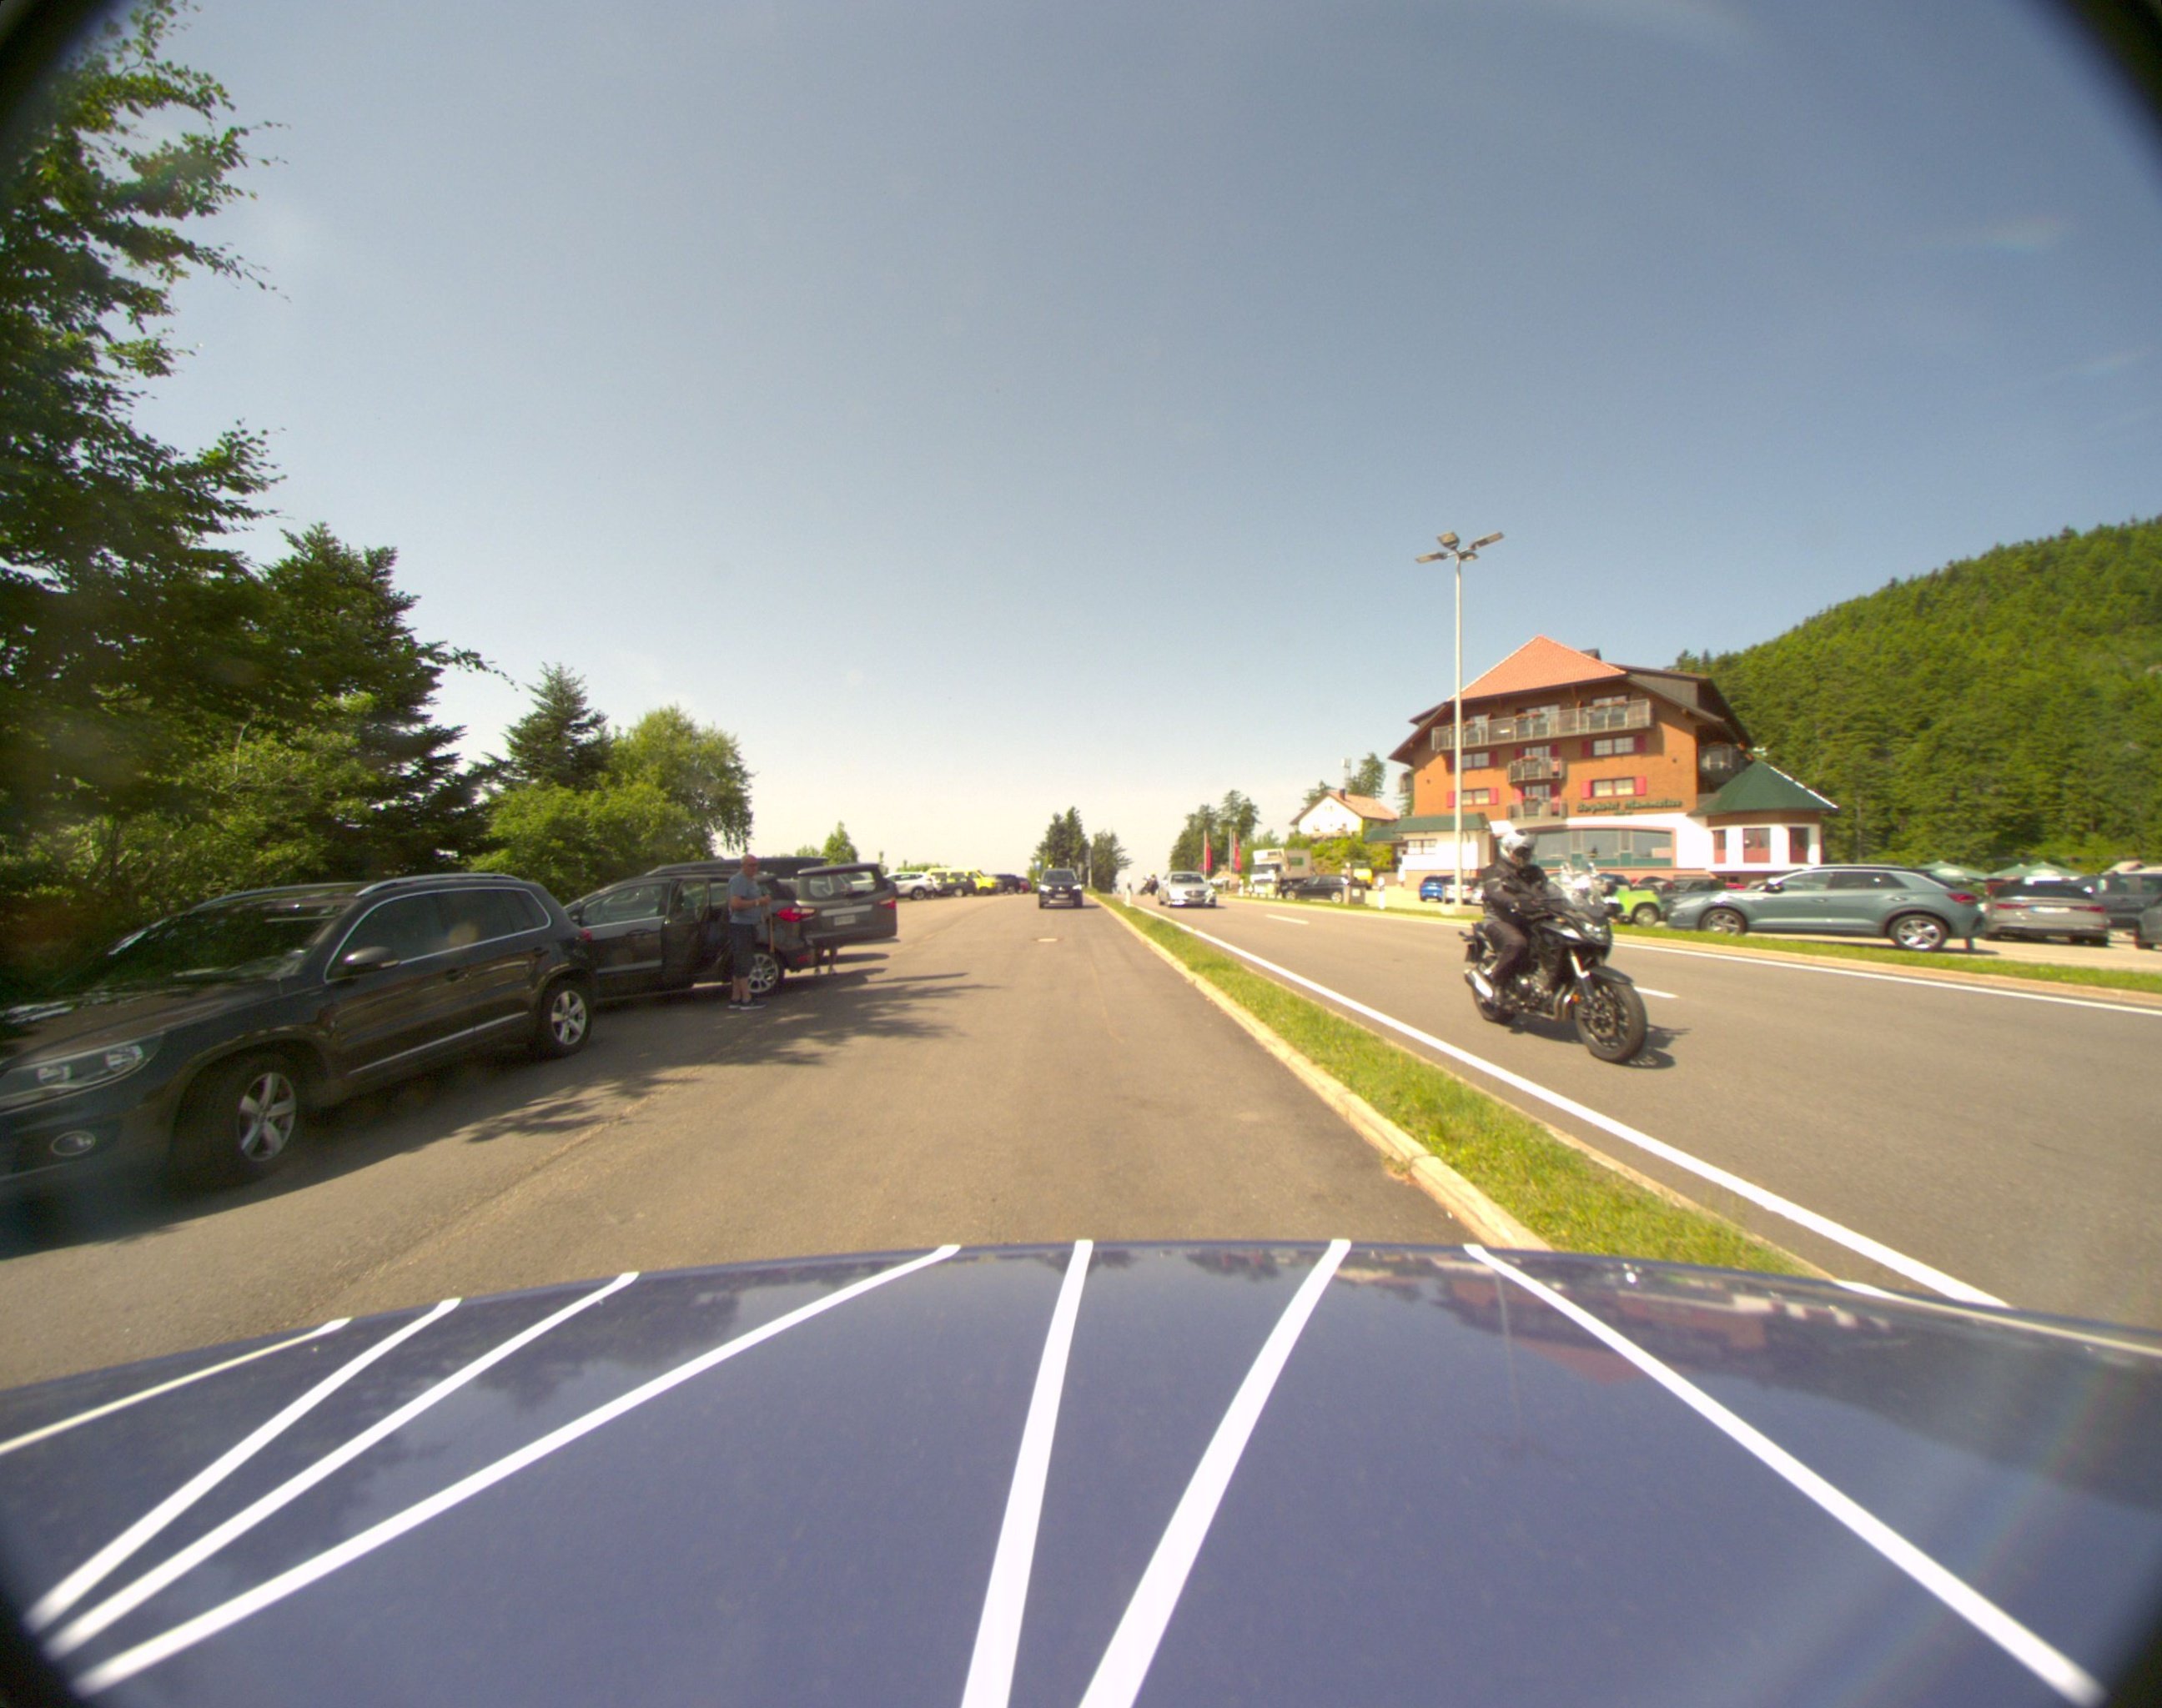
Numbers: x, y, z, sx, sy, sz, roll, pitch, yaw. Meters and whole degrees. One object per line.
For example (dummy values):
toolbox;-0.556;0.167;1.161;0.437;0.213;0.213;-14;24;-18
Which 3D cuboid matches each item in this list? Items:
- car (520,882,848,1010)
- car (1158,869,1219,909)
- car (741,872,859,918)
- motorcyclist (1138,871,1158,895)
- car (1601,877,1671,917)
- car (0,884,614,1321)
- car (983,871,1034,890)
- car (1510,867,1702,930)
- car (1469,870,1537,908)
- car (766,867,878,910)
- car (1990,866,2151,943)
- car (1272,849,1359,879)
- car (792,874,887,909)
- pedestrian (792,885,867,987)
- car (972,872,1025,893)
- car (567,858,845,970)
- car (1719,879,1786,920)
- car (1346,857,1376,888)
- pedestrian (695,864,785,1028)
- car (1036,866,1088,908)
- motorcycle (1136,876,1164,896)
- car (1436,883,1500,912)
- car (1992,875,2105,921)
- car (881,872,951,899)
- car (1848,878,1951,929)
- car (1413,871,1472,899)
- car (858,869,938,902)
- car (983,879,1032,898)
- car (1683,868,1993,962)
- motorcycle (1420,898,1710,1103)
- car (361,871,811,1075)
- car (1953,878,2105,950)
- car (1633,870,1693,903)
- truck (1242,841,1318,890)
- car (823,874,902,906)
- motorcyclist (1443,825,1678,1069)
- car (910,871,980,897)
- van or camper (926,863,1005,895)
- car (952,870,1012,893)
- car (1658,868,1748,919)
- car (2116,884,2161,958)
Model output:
car;-5.776;1.241;11.420;4.006;1.434;1.836;-2;-1;-29
car;4.251;1.393;30.612;1.781;1.448;4.001;1;-2;-1
car;-11.104;1.574;30.078;4.007;1.539;1.816;-2;-1;-34
motorcyclist;4.913;2.128;55.653;1.061;1.709;1.251;0;-1;33
car;22.413;1.736;30.635;1.711;1.477;4.089;-1;-3;44
car;-5.377;1.158;5.126;1.748;1.622;4.308;-4;0;-1
car;-6.518;2.384;68.222;4.410;1.558;1.907;-1;-2;-7
car;14.305;1.171;20.881;1.787;1.542;3.989;2;-3;-40
car;22.236;1.843;39.974;4.541;1.852;1.830;3;-3;-43
car;-11.331;1.486;33.384;4.235;1.684;1.859;-1;-1;-38
car;26.999;1.334;20.908;1.994;1.892;4.010;0;-2;42
car;12.862;0.575;41.840;4.180;1.530;1.812;-1;-3;44
car;-11.708;1.803;36.907;4.057;1.452;1.891;-2;-1;-29
pedestrian;-3.605;1.153;10.946;0.775;1.394;0.669;1;-2;6
car;-6.395;2.214;59.128;3.999;1.603;1.916;-1;-2;-6
car;-7.402;1.121;15.571;4.777;1.868;1.963;-2;-1;-20
car;28.211;1.887;31.931;1.994;1.542;4.010;0;-2;42
car;23.458;1.579;63.707;1.996;2.480;4.007;1;-2;16
pedestrian;-3.843;1.005;8.576;0.579;1.750;0.634;-3;0;34
car;-0.705;1.346;31.348;1.985;1.606;4.151;0;-2;0
motorcycle;5.068;2.311;55.895;1.003;1.398;2.450;0;-1;33
car;21.807;2.458;42.740;4.010;1.536;1.994;3;-3;-44
car;35.105;1.589;27.696;1.905;1.520;3.891;-1;-3;42
car;-10.172;1.929;46.789;4.100;1.491;1.942;-1;-1;-13
car;27.501;1.651;25.664;1.994;1.542;4.010;0;-2;42
car;22.061;1.860;46.296;1.934;1.653;4.556;-1;-2;44
car;-10.549;1.805;43.755;4.189;1.639;1.889;-2;-1;-21
car;-6.216;2.889;64.215;4.000;1.500;1.841;0;-2;-10
car;14.326;1.057;14.662;1.744;1.558;4.048;1;-2;-45
motorcycle;3.757;1.044;6.234;0.878;1.249;2.277;-1;-1;-1
car;-5.572;1.197;9.150;4.005;1.652;1.996;-5;1;-28
car;22.768;1.389;18.420;4.010;1.535;1.894;3;-3;-44
car;27.383;1.533;35.718;1.929;1.409;4.010;0;-2;42
truck;17.889;0.995;67.820;3.062;3.947;8.790;-4;-2;39
car;-11.513;1.874;40.044;3.810;1.450;1.660;-2;-1;-23
motorcyclist;3.744;0.666;6.113;0.925;1.707;1.452;-1;0;-1
car;-8.960;2.001;50.331;4.362;1.478;1.813;-2;-2;-3
van or camper;-8.080;1.778;53.347;5.101;2.001;1.883;-3;-2;4
car;-7.343;2.055;56.389;4.160;1.579;1.706;-1;-2;2
car;22.386;1.405;27.296;4.009;1.693;1.821;3;-3;-40
car;22.391;1.342;14.872;1.902;1.411;4.010;0;-3;44
